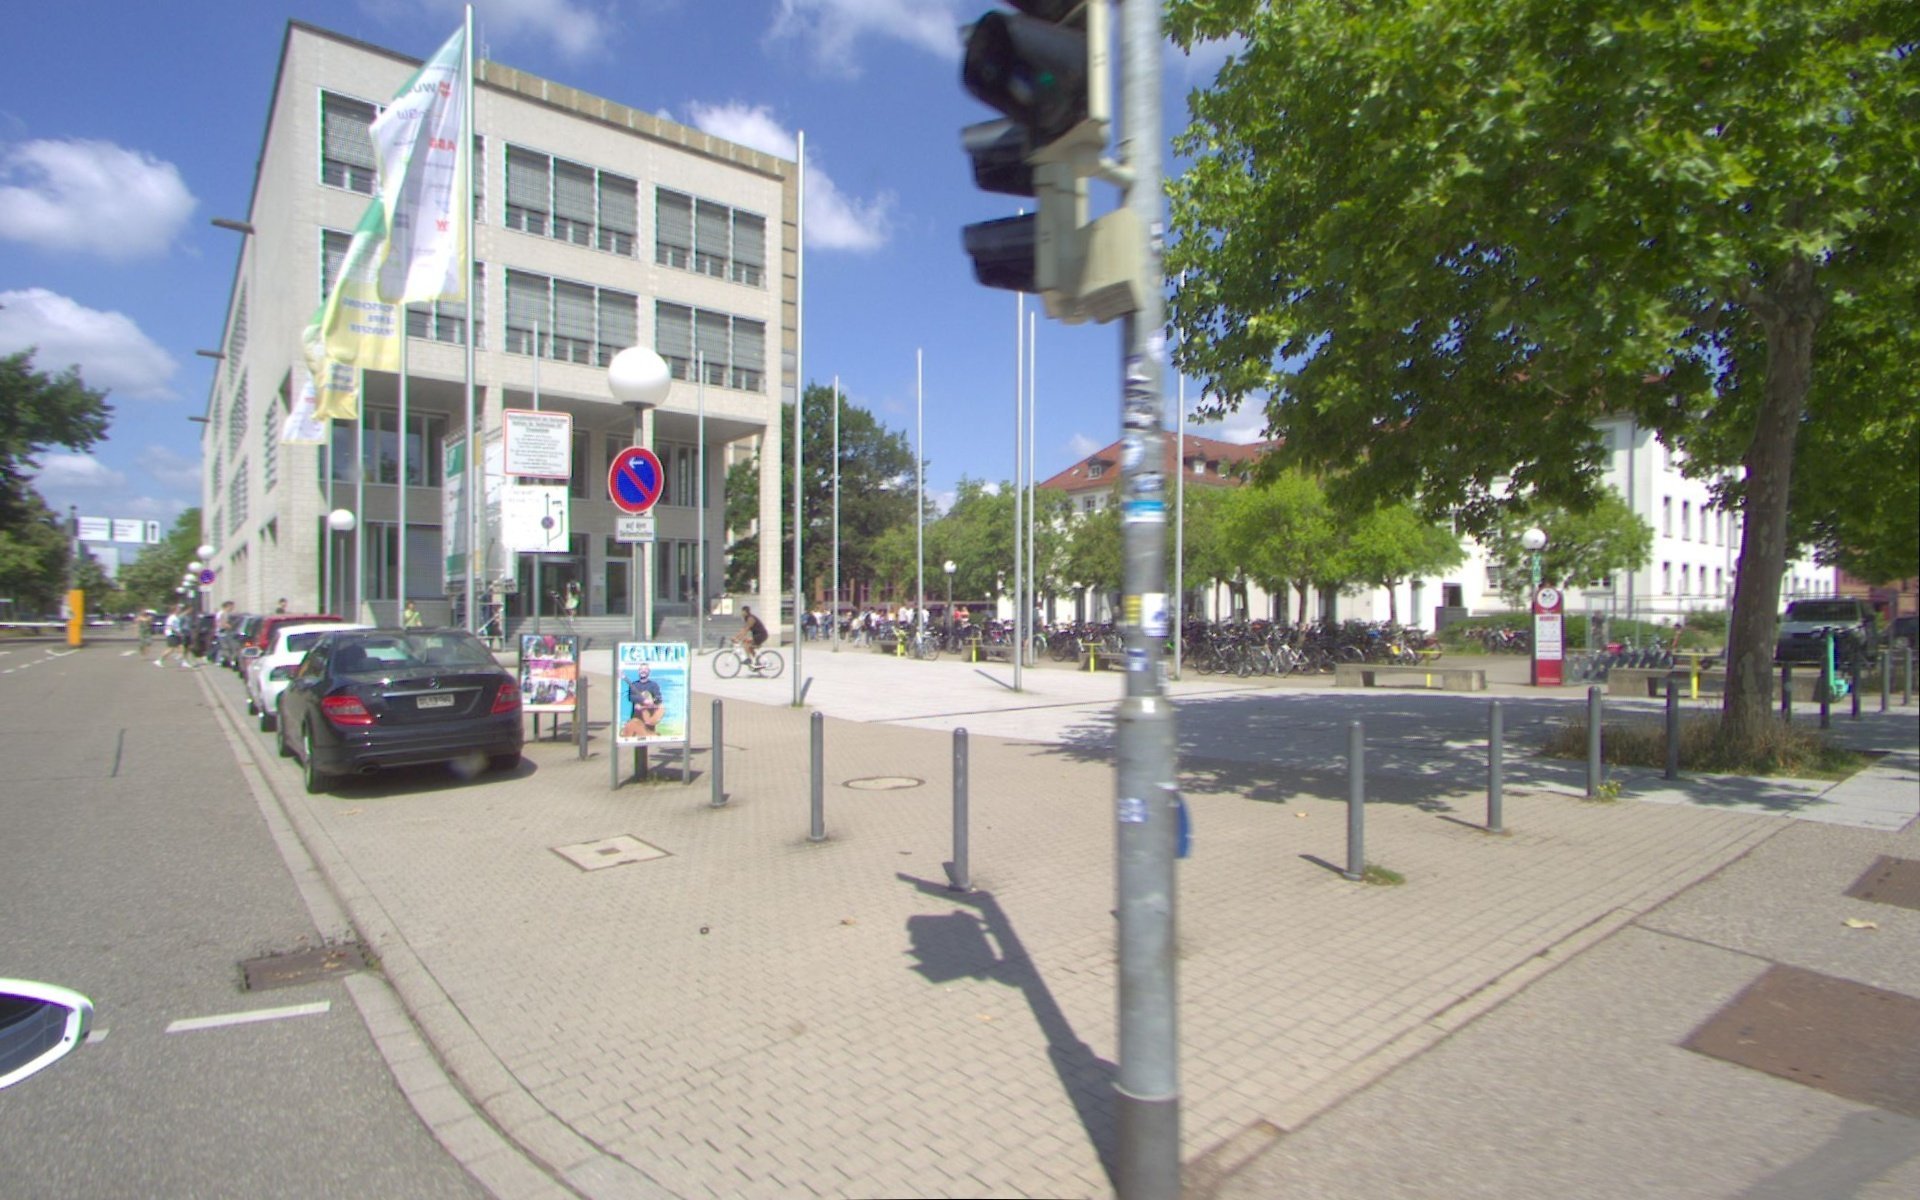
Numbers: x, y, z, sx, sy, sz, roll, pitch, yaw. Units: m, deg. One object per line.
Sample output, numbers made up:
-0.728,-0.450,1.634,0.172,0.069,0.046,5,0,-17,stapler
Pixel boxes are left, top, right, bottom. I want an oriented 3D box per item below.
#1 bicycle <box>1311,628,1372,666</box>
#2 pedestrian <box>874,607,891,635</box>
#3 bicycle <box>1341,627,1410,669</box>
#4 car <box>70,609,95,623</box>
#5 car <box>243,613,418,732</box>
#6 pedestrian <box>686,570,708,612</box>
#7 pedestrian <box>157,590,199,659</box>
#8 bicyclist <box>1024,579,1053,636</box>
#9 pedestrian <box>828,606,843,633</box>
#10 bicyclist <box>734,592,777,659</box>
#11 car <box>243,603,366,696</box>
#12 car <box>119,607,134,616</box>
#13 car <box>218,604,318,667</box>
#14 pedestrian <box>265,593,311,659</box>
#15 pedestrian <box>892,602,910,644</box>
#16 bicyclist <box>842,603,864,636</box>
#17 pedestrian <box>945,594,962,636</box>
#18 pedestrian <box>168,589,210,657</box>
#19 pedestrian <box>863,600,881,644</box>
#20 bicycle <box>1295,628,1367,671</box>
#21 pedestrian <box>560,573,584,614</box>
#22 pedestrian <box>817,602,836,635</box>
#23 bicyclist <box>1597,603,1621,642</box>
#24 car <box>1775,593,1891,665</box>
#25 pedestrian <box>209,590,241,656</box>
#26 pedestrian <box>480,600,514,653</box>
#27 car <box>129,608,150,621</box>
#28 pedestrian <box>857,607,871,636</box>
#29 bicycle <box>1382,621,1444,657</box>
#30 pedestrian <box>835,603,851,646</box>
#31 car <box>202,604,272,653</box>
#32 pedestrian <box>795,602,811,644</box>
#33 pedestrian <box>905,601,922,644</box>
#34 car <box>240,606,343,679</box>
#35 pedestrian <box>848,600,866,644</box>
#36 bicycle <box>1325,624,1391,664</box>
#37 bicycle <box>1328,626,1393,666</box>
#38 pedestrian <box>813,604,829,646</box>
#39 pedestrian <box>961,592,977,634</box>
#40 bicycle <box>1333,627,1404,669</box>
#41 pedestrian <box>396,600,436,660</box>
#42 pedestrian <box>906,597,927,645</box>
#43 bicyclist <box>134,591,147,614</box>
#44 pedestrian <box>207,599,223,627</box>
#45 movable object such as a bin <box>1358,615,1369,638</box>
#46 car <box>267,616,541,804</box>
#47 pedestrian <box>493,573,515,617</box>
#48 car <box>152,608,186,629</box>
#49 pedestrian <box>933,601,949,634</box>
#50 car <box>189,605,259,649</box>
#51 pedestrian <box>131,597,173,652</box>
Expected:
11.613,1.414,30.513,1.737,1.113,0.602,0,-1,21,bicycle
-4.211,1.150,54.267,0.703,1.455,0.633,-1,-1,17,pedestrian
11.550,1.324,27.886,1.737,1.113,0.602,0,-1,21,bicycle
-102.318,1.853,116.798,1.977,1.566,4.178,1,-1,-38,car
-9.463,0.949,14.891,1.703,1.419,4.403,-3,1,-38,car
-11.640,-0.386,44.368,0.711,1.821,0.711,0,-1,-36,pedestrian
-22.304,0.689,28.560,0.772,1.951,0.592,0,0,-17,pedestrian
2.579,0.252,32.872,0.747,1.869,0.662,-1,-1,-12,bicyclist
-6.762,1.078,54.355,0.704,1.449,0.633,-1,-1,-20,pedestrian
-4.959,0.616,24.314,0.915,1.585,0.663,0,0,-3,bicyclist
-12.513,0.836,19.010,1.600,1.517,4.114,-2,1,-38,car
-165.681,2.328,199.126,1.975,1.742,3.973,0,-2,-36,car
-19.123,0.907,27.578,1.706,1.550,4.525,-2,1,-42,car
-20.319,0.775,30.277,1.085,1.945,1.013,0,0,-38,pedestrian
-3.166,1.245,53.777,0.704,2.258,0.633,-1,-1,21,pedestrian
-5.243,0.960,48.917,0.672,1.590,0.875,1,1,30,bicyclist
-0.350,0.831,54.445,0.623,2.258,0.715,-1,-1,21,pedestrian
-22.506,0.678,29.242,0.770,1.951,0.733,0,0,-17,pedestrian
-3.599,0.903,40.998,0.622,1.769,0.716,-1,-1,-13,pedestrian
9.797,1.309,26.441,1.737,1.113,0.602,-2,-1,21,bicycle
-15.352,-0.250,39.658,0.711,1.605,0.711,0,-1,-36,pedestrian
-7.020,0.959,52.801,0.857,1.723,0.633,-1,-1,-20,pedestrian
23.133,0.799,35.690,0.601,1.338,0.736,2,2,42,bicyclist
24.978,0.794,28.589,4.889,1.889,1.887,1,-1,-42,car
-21.993,0.682,29.974,0.716,1.951,0.747,0,0,-31,pedestrian
-14.864,0.846,32.157,0.725,1.661,0.691,0,0,13,pedestrian
-115.454,2.003,140.898,1.975,1.742,3.973,0,-2,-36,car
-5.168,1.153,53.723,0.623,1.517,0.715,-1,-1,-16,pedestrian
14.227,1.228,31.491,1.737,1.113,0.602,-2,-1,21,bicycle
-6.265,1.304,53.707,0.704,2.258,0.633,-1,-1,-20,pedestrian
-23.596,0.899,32.627,1.601,1.516,3.972,1,-1,-40,car
-8.553,1.272,54.494,0.704,2.258,0.633,-1,-1,-20,pedestrian
-2.481,1.215,53.325,0.704,2.258,0.633,-1,-1,21,pedestrian
-15.614,0.927,23.292,1.704,1.549,3.969,0,0,-38,car
-4.192,0.909,40.838,0.622,1.769,0.716,-1,-1,-13,pedestrian
11.376,1.236,28.651,1.737,1.113,0.602,0,0,21,bicycle
11.704,1.342,29.316,1.737,1.113,0.602,1,-1,21,bicycle
-7.606,1.365,54.672,0.704,2.258,0.633,-1,-1,-20,pedestrian
0.512,0.705,54.131,0.623,2.258,0.715,-1,-1,21,pedestrian
11.071,1.309,27.189,1.737,1.113,0.602,-2,-1,21,bicycle
-16.280,0.877,29.954,0.910,1.763,0.993,0,0,-39,pedestrian
-2.092,1.026,48.117,0.839,2.258,0.634,-1,-1,13,pedestrian
-80.181,0.274,97.993,0.979,2.159,1.028,0,-1,-39,bicyclist
-47.874,0.836,64.354,0.761,1.805,0.902,-2,2,-40,pedestrian
19.537,1.279,48.459,0.364,1.069,0.385,0,1,-43,movable object such as a bin
-5.982,0.919,10.426,1.703,1.419,4.909,-2,1,-38,car
-17.710,-0.187,38.898,0.626,1.687,0.711,0,-1,-36,pedestrian
-60.943,1.397,77.169,1.977,1.566,4.178,1,-1,-38,car
-1.016,0.962,54.750,0.623,1.800,0.715,-1,-1,21,pedestrian
-26.464,0.935,35.943,1.851,1.483,4.483,1,-1,-39,car
-26.369,0.793,32.684,1.022,1.740,0.623,0,0,19,pedestrian
